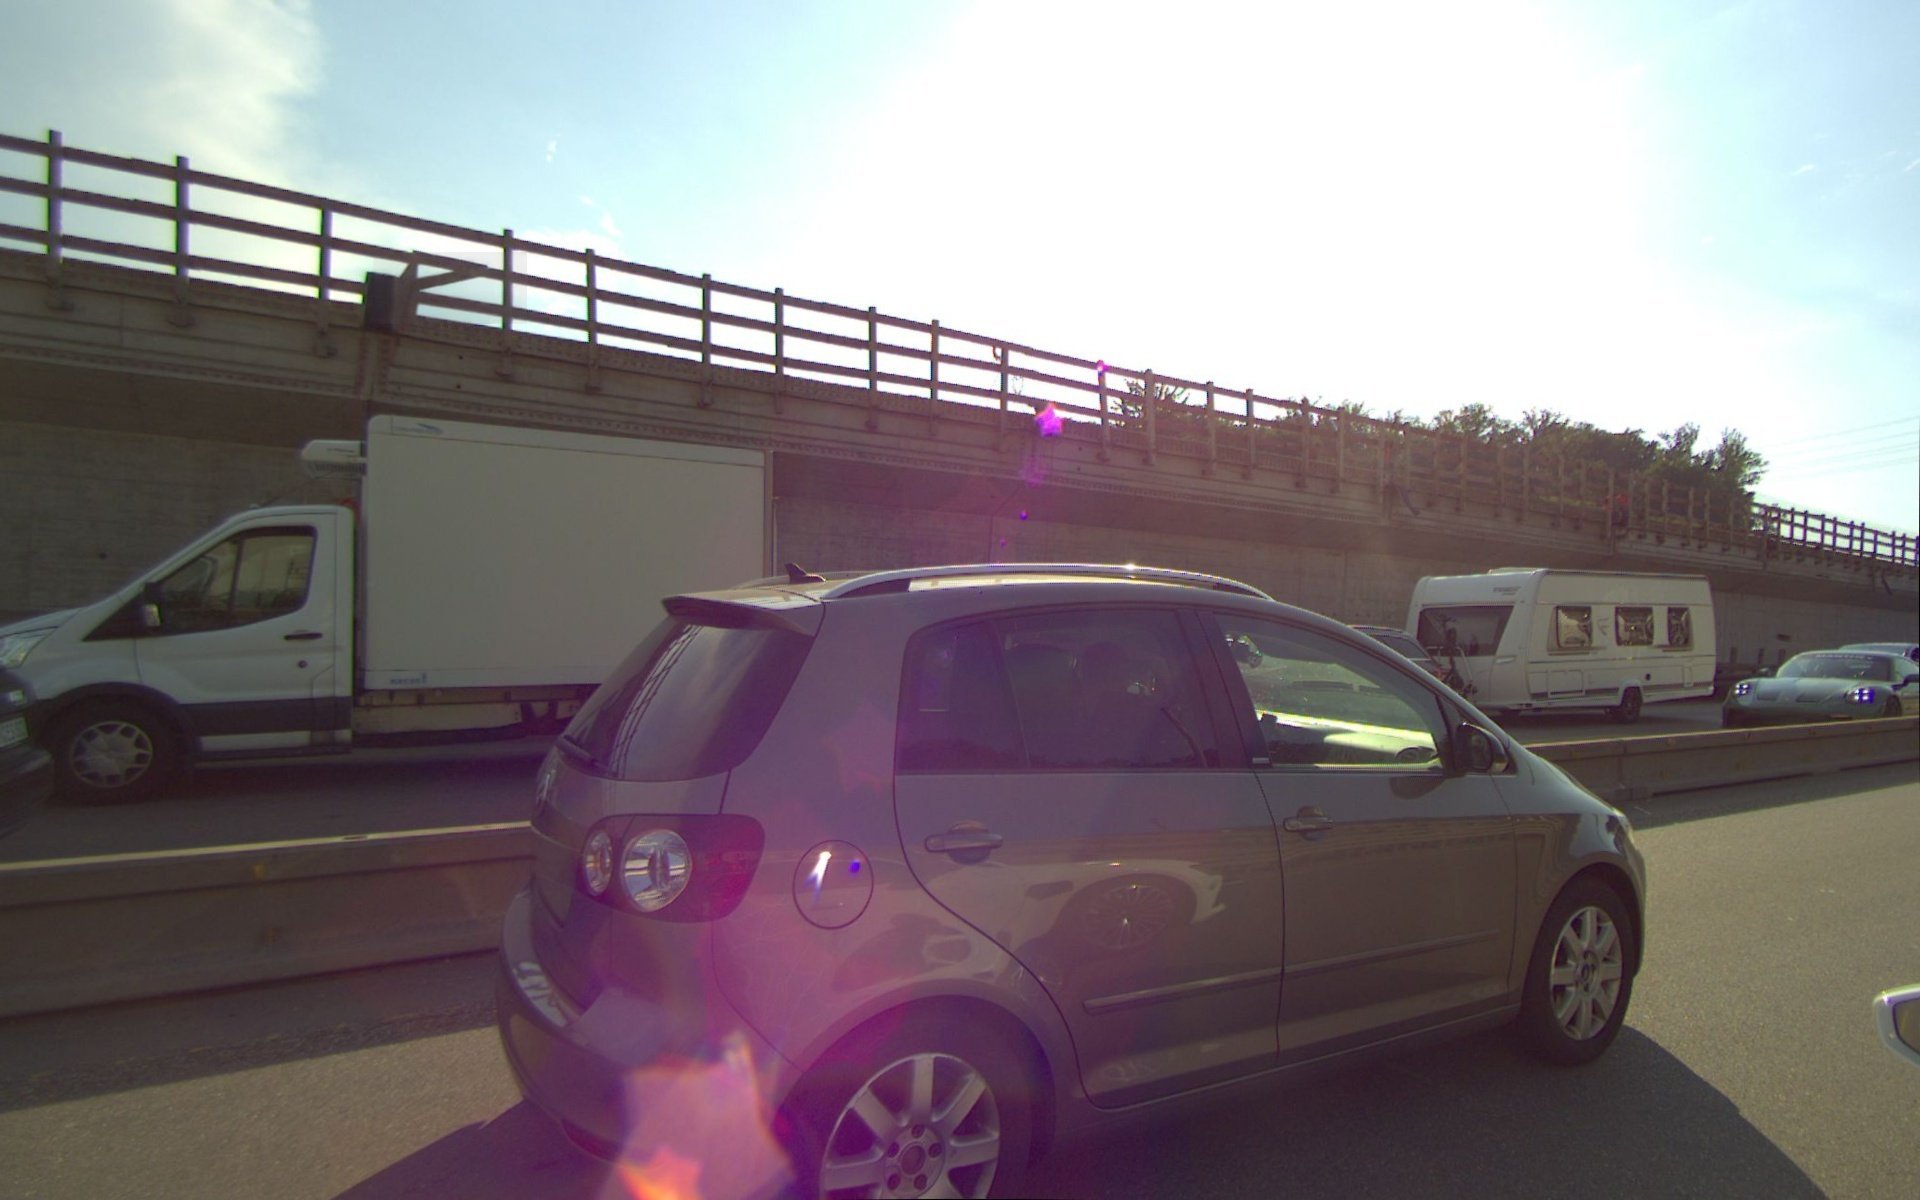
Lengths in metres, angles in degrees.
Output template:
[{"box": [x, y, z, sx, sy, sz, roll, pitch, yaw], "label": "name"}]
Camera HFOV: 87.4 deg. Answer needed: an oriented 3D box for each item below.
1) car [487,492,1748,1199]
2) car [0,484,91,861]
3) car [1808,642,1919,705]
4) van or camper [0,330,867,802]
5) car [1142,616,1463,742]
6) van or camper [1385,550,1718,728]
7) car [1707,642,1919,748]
[{"box": [0.752, 0.681, 3.488, 4.221, 1.609, 1.673, 1, -2, -30], "label": "car"}, {"box": [-6.224, 0.207, 3.502, 4.506, 1.617, 1.733, 3, 0, -31], "label": "car"}, {"box": [23.159, 1.775, 24.814, 4.845, 1.439, 1.962, 2, -3, -32], "label": "car"}, {"box": [-4.146, -0.062, 9.012, 6.153, 3.028, 2.308, 3, -2, -31], "label": "van or camper"}, {"box": [4.947, 1.066, 14.281, 4.728, 1.551, 1.633, 2, -2, -30], "label": "car"}, {"box": [10.627, 0.716, 17.880, 6.379, 2.697, 2.301, 2, -2, -30], "label": "van or camper"}, {"box": [13.205, 1.346, 15.052, 4.191, 1.342, 1.772, 2, -1, -31], "label": "car"}]
